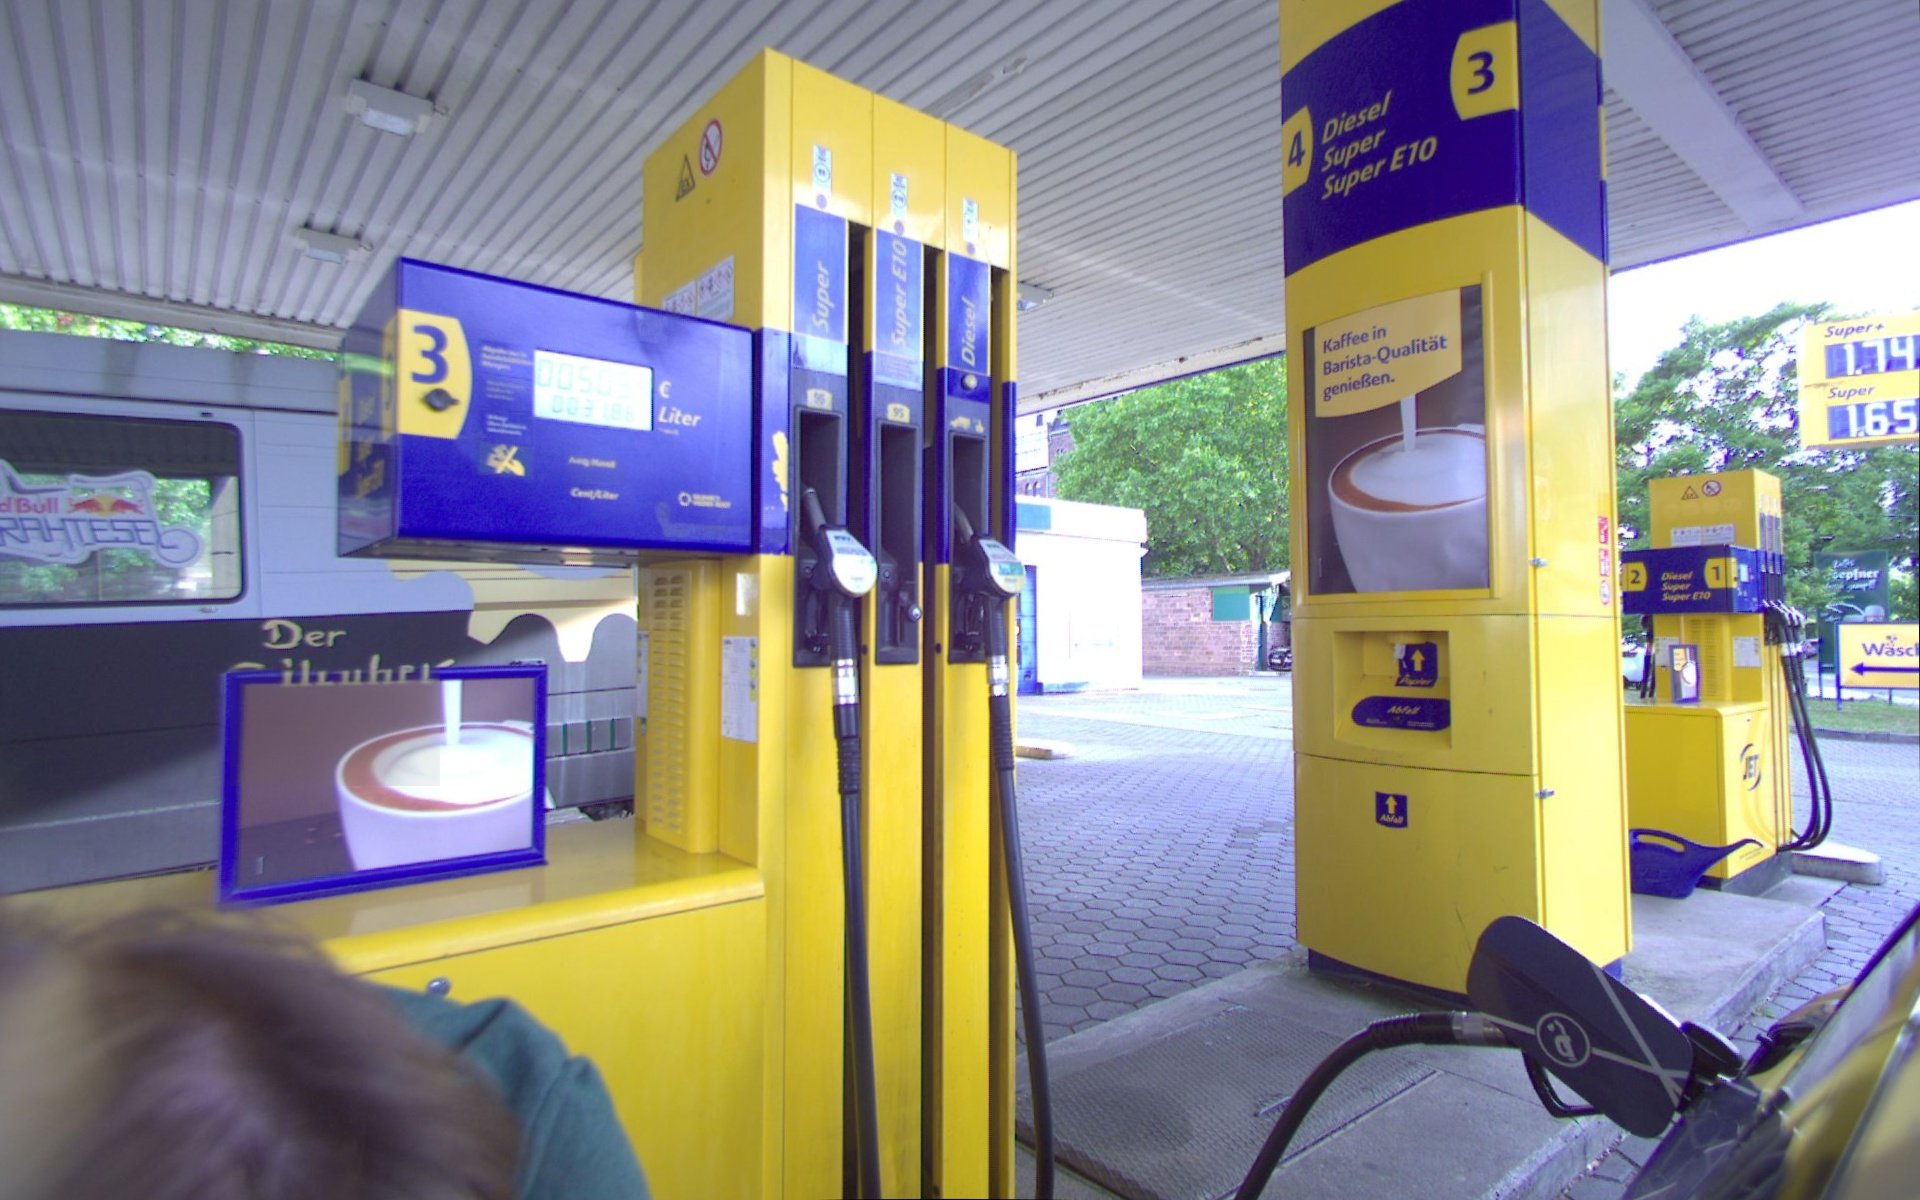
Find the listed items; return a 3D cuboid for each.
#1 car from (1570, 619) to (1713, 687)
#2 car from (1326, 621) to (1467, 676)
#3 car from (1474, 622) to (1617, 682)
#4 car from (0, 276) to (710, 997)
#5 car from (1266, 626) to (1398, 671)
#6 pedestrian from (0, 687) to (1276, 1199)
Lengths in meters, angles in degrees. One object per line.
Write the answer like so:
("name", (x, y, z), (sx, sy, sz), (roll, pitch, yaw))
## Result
("car", (18.353, 1.440, 27.209), (4.308, 1.622, 1.774), (4, -4, -35))
("car", (13.884, 1.524, 32.143), (4.303, 1.622, 1.777), (2, -1, -28))
("car", (17.844, 1.583, 30.808), (4.303, 1.622, 1.776), (4, -4, -28))
("car", (-4.112, 0.155, 4.900), (5.197, 2.726, 2.258), (1, -2, -39))
("car", (12.688, 1.647, 34.434), (4.303, 1.393, 1.777), (2, -1, -28))
("pedestrian", (-0.337, 0.744, 0.552), (0.662, 1.298, 0.751), (0, 0, -41))
